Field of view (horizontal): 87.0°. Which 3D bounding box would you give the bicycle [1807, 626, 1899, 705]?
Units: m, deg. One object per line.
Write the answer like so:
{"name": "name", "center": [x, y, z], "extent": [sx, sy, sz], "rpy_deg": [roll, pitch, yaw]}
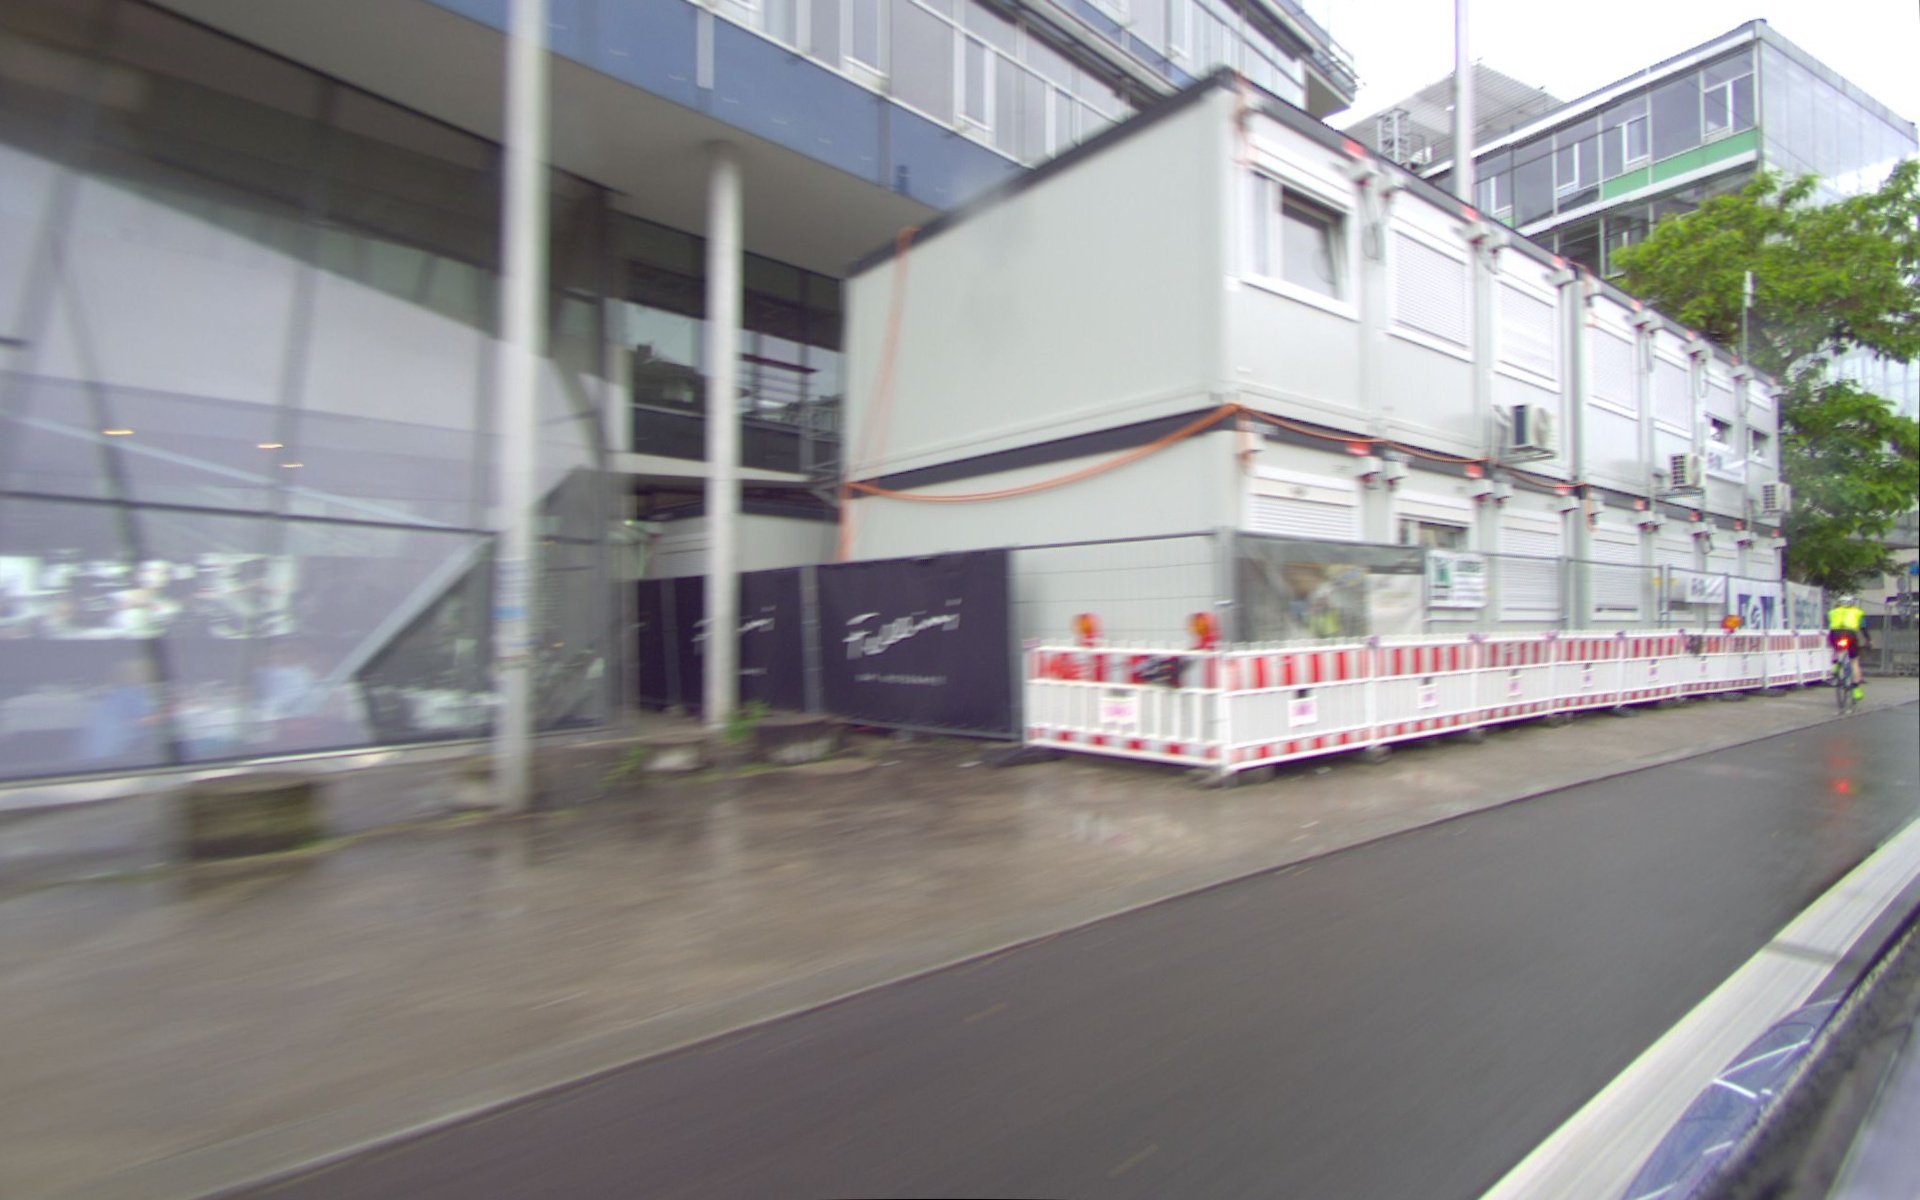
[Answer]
{"name": "bicycle", "center": [13.971, 0.994, 15.816], "extent": [2.018, 1.065, 0.664], "rpy_deg": [-1, 3, -37]}

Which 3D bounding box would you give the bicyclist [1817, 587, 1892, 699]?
{"name": "bicyclist", "center": [13.944, 0.647, 15.780], "extent": [0.778, 1.659, 0.664], "rpy_deg": [0, 3, -37]}
